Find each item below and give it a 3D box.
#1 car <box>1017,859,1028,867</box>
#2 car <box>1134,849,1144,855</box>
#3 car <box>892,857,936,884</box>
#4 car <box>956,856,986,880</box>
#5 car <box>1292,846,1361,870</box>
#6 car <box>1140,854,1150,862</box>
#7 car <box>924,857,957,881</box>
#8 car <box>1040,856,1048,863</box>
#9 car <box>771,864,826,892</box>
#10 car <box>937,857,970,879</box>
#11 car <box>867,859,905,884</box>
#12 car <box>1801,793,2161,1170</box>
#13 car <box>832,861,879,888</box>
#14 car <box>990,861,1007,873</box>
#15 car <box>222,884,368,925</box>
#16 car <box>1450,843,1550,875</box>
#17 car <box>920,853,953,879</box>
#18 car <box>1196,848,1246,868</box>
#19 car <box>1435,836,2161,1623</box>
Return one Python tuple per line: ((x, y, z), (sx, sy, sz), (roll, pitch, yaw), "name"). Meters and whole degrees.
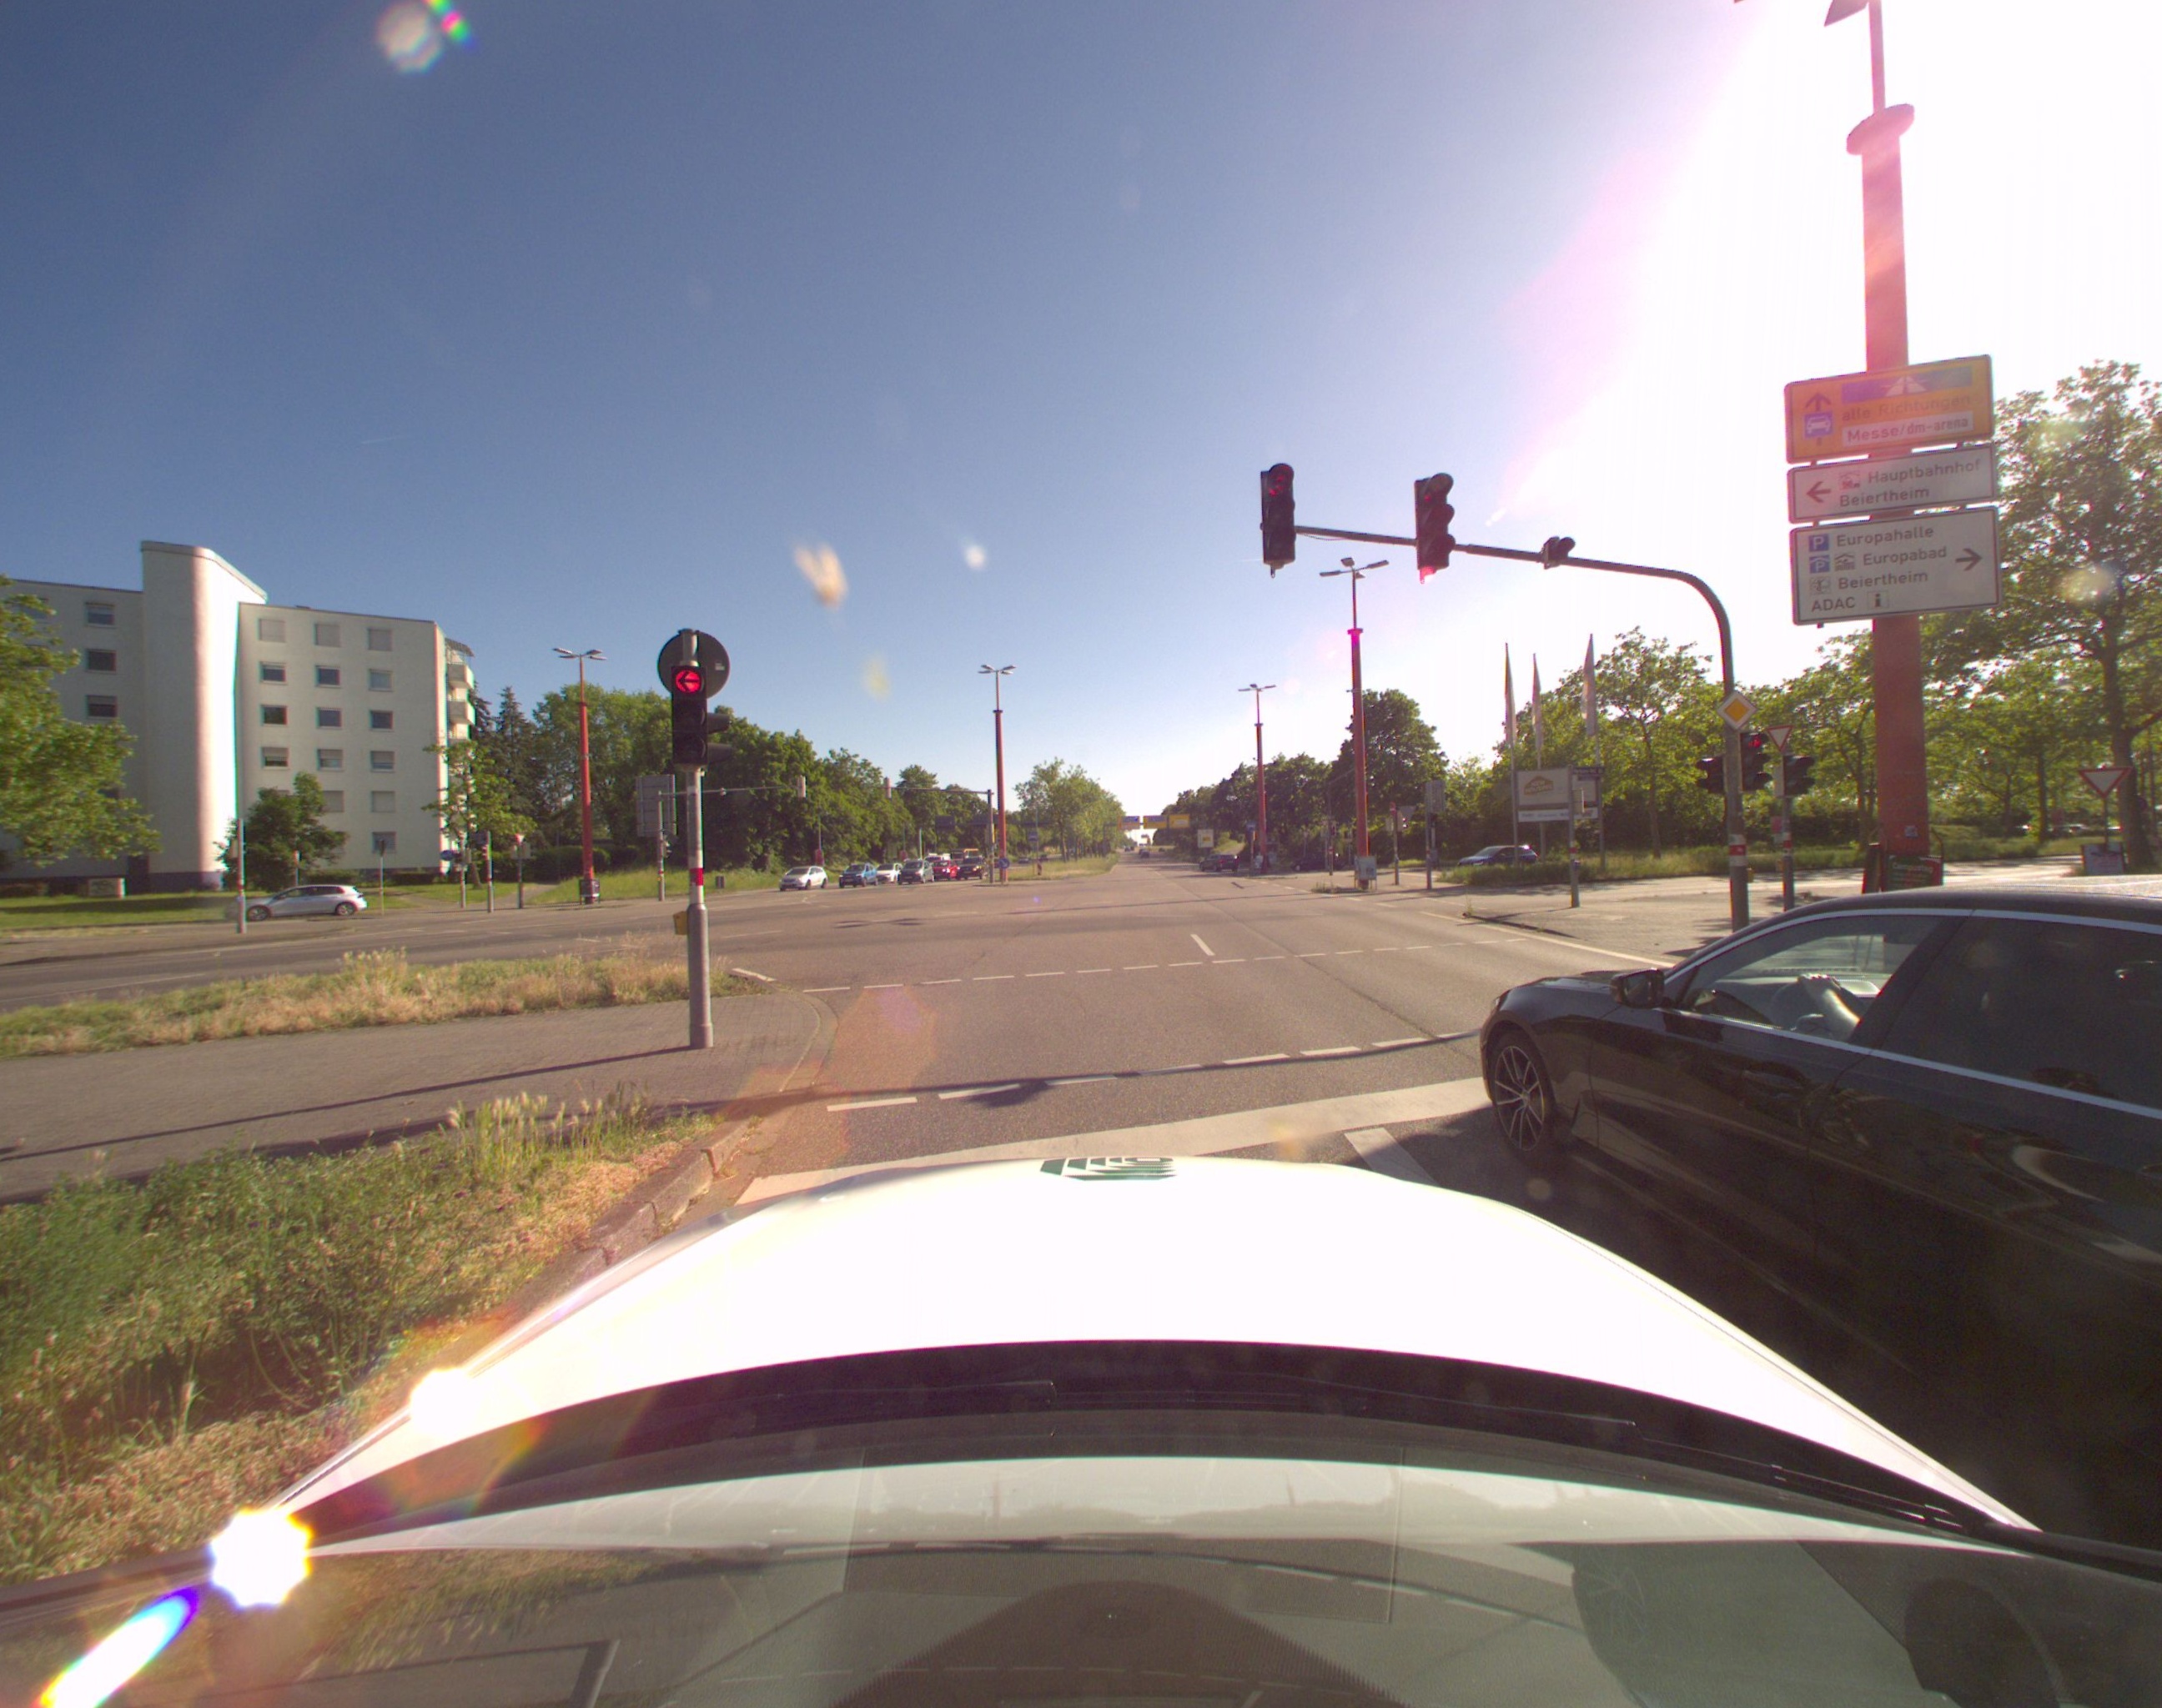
((-11.289, 1.733, 157.892), (1.872, 1.573, 3.943), (-2, 0, -2), "car")
((15.771, -0.507, 220.878), (2.153, 1.573, 4.277), (-2, 0, -2), "car")
((-10.729, 1.043, 52.583), (1.988, 1.573, 4.119), (-2, 0, -1), "car")
((-7.562, 0.936, 56.492), (1.874, 1.573, 4.112), (-2, 0, -6), "car")
((17.726, 0.281, 58.824), (4.225, 1.573, 2.180), (-2, 0, 35), "car")
((13.877, 0.873, 177.165), (2.149, 1.573, 4.285), (-2, 0, 4), "car")
((-10.099, 1.043, 58.874), (1.991, 1.573, 4.112), (-2, 0, -6), "car")
((-8.411, 1.253, 184.985), (1.872, 1.573, 4.117), (-2, 0, -2), "car")
((-17.690, 1.464, 51.183), (1.987, 1.573, 4.120), (-2, 0, 0), "car")
((-10.062, 1.090, 64.656), (1.988, 1.573, 4.118), (-2, 0, -1), "car")
((-13.735, 1.213, 57.526), (1.991, 1.573, 4.112), (-3, 0, -6), "car")
((5.803, 0.558, 3.263), (1.959, 1.686, 4.479), (-1, 0, 2), "car")
((-14.232, 1.281, 51.643), (1.989, 1.573, 4.116), (-2, 0, -3), "car")
((-11.391, 1.781, 112.200), (1.814, 1.454, 3.658), (-2, 0, 2), "car")
((-33.413, 2.090, 34.738), (1.776, 1.452, 4.248), (-2, 0, 38), "car")
((20.685, 0.233, 40.240), (4.276, 1.428, 1.874), (-2, 0, -16), "car")
((-12.731, 1.050, 71.989), (2.055, 2.193, 4.377), (-2, 0, 0), "car")
((11.694, 0.370, 68.522), (2.166, 1.573, 4.552), (-2, 0, -19), "car")
((2.956, 0.663, 2.375), (1.986, 1.394, 4.479), (-2, 0, 2), "car")
